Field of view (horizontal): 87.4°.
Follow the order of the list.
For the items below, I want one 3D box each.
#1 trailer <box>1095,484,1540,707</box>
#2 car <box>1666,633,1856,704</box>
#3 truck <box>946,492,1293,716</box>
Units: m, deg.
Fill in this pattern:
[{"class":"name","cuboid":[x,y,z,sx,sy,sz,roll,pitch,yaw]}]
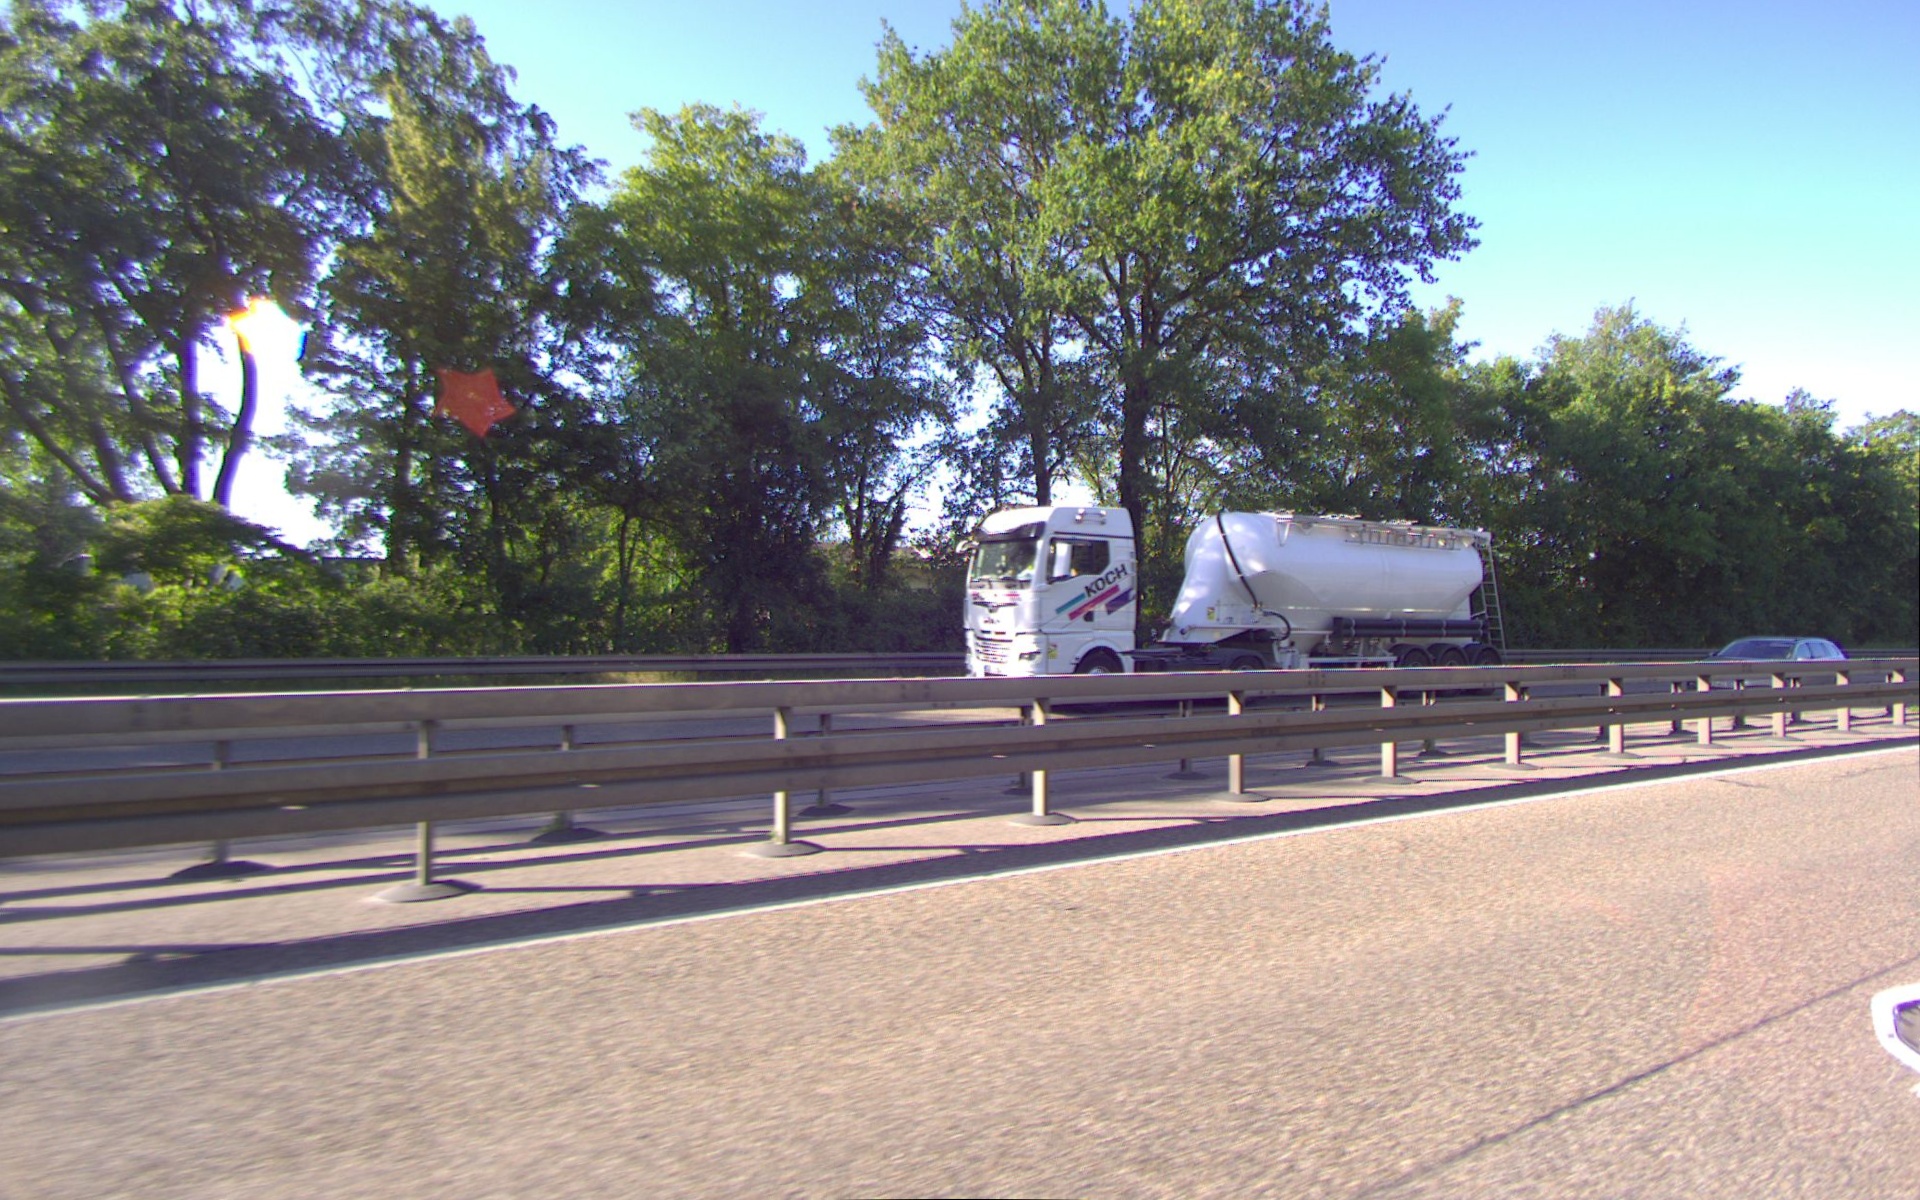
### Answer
[{"class":"trailer","cuboid":[8.243,0.044,22.301,10.841,4.050,3.039,1,-2,-30]},{"class":"car","cuboid":[18.666,1.533,23.373,4.637,1.486,1.791,1,-2,-28]},{"class":"truck","cuboid":[3.100,0.154,19.300,6.081,3.678,2.968,1,-1,-29]}]
